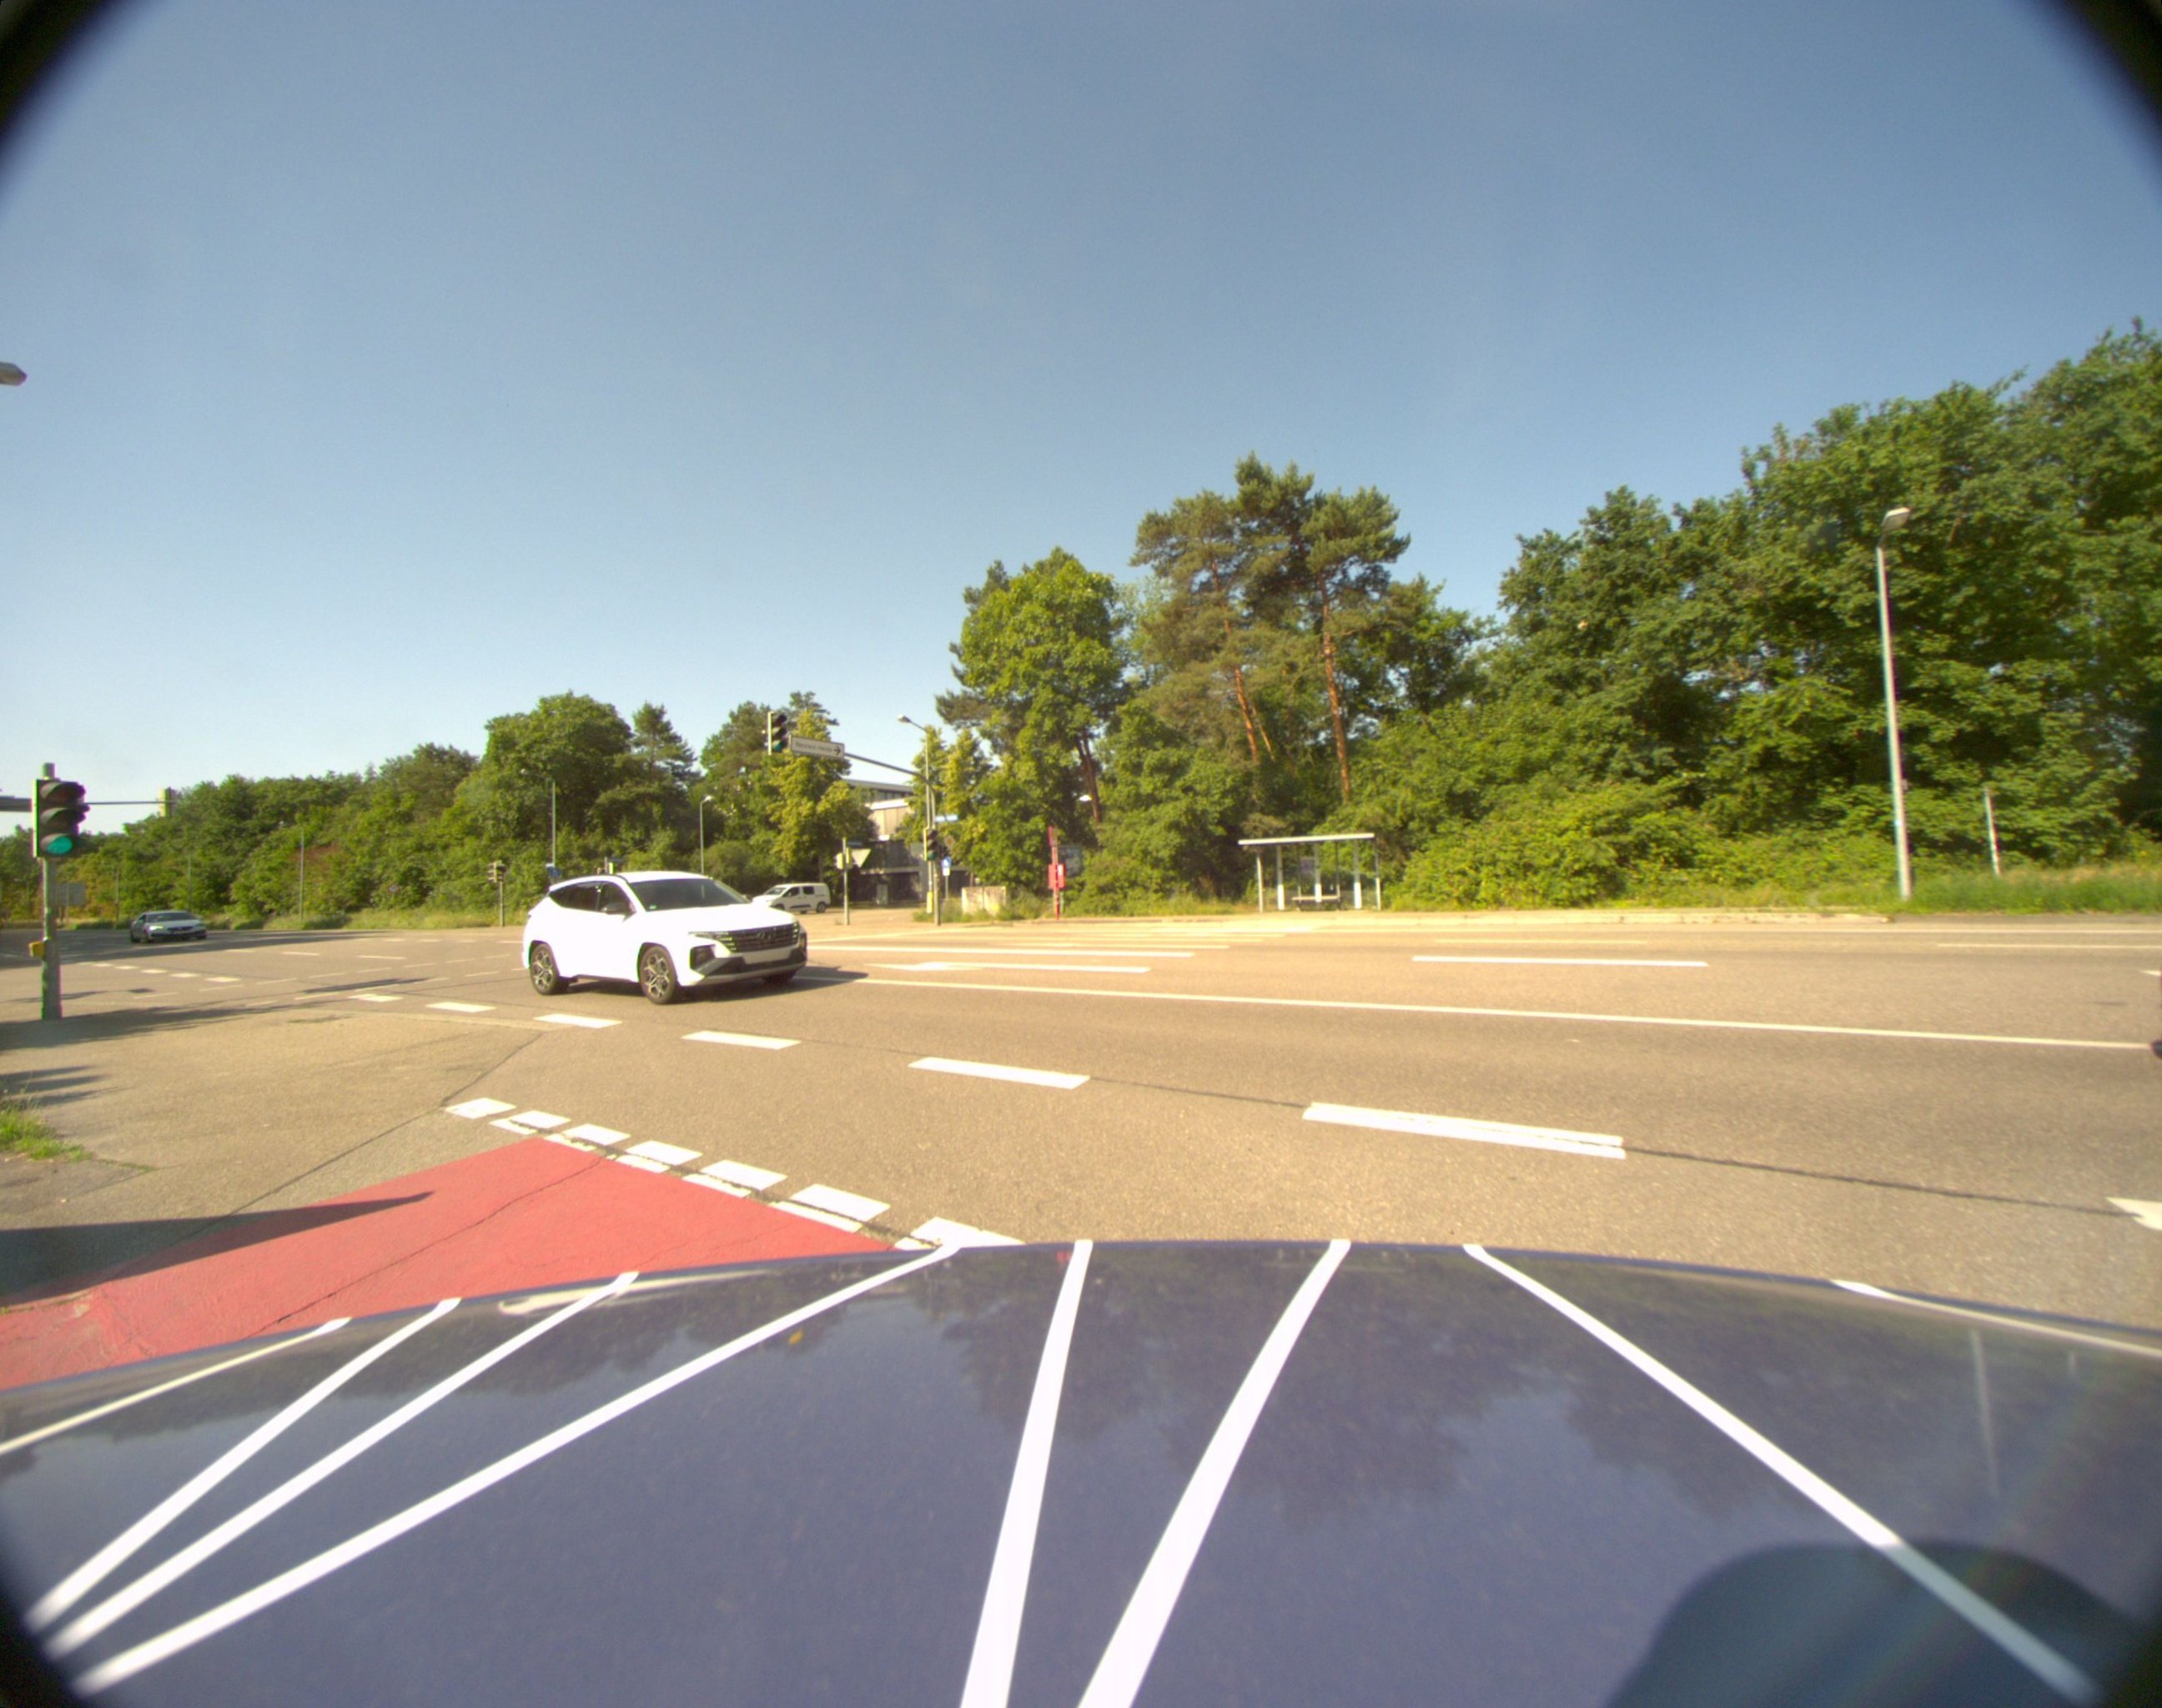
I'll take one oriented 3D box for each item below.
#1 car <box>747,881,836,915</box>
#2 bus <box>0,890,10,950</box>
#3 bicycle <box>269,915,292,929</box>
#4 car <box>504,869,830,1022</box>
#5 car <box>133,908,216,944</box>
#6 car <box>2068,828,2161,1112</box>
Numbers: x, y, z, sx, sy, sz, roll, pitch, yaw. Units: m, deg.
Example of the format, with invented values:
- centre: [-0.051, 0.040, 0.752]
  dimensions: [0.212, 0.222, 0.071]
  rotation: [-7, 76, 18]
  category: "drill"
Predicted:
- centre: [-16.878, 2.548, 44.458]
  dimensions: [1.847, 1.767, 4.671]
  rotation: [-3, -2, 31]
  category: "car"
- centre: [-66.249, 3.988, 44.816]
  dimensions: [7.774, 3.437, 2.789]
  rotation: [-3, 1, 31]
  category: "bus"
- centre: [-67.414, 5.733, 63.957]
  dimensions: [2.367, 1.156, 0.736]
  rotation: [-3, -1, 29]
  category: "bicycle"
- centre: [-5.708, 1.158, 10.370]
  dimensions: [4.297, 1.639, 1.817]
  rotation: [-3, 0, 29]
  category: "car"
- centre: [-42.582, 3.382, 35.679]
  dimensions: [4.412, 1.416, 1.793]
  rotation: [-4, 0, 31]
  category: "car"
- centre: [7.172, 0.509, 2.745]
  dimensions: [4.045, 1.423, 1.654]
  rotation: [-4, 1, 31]
  category: "car"
